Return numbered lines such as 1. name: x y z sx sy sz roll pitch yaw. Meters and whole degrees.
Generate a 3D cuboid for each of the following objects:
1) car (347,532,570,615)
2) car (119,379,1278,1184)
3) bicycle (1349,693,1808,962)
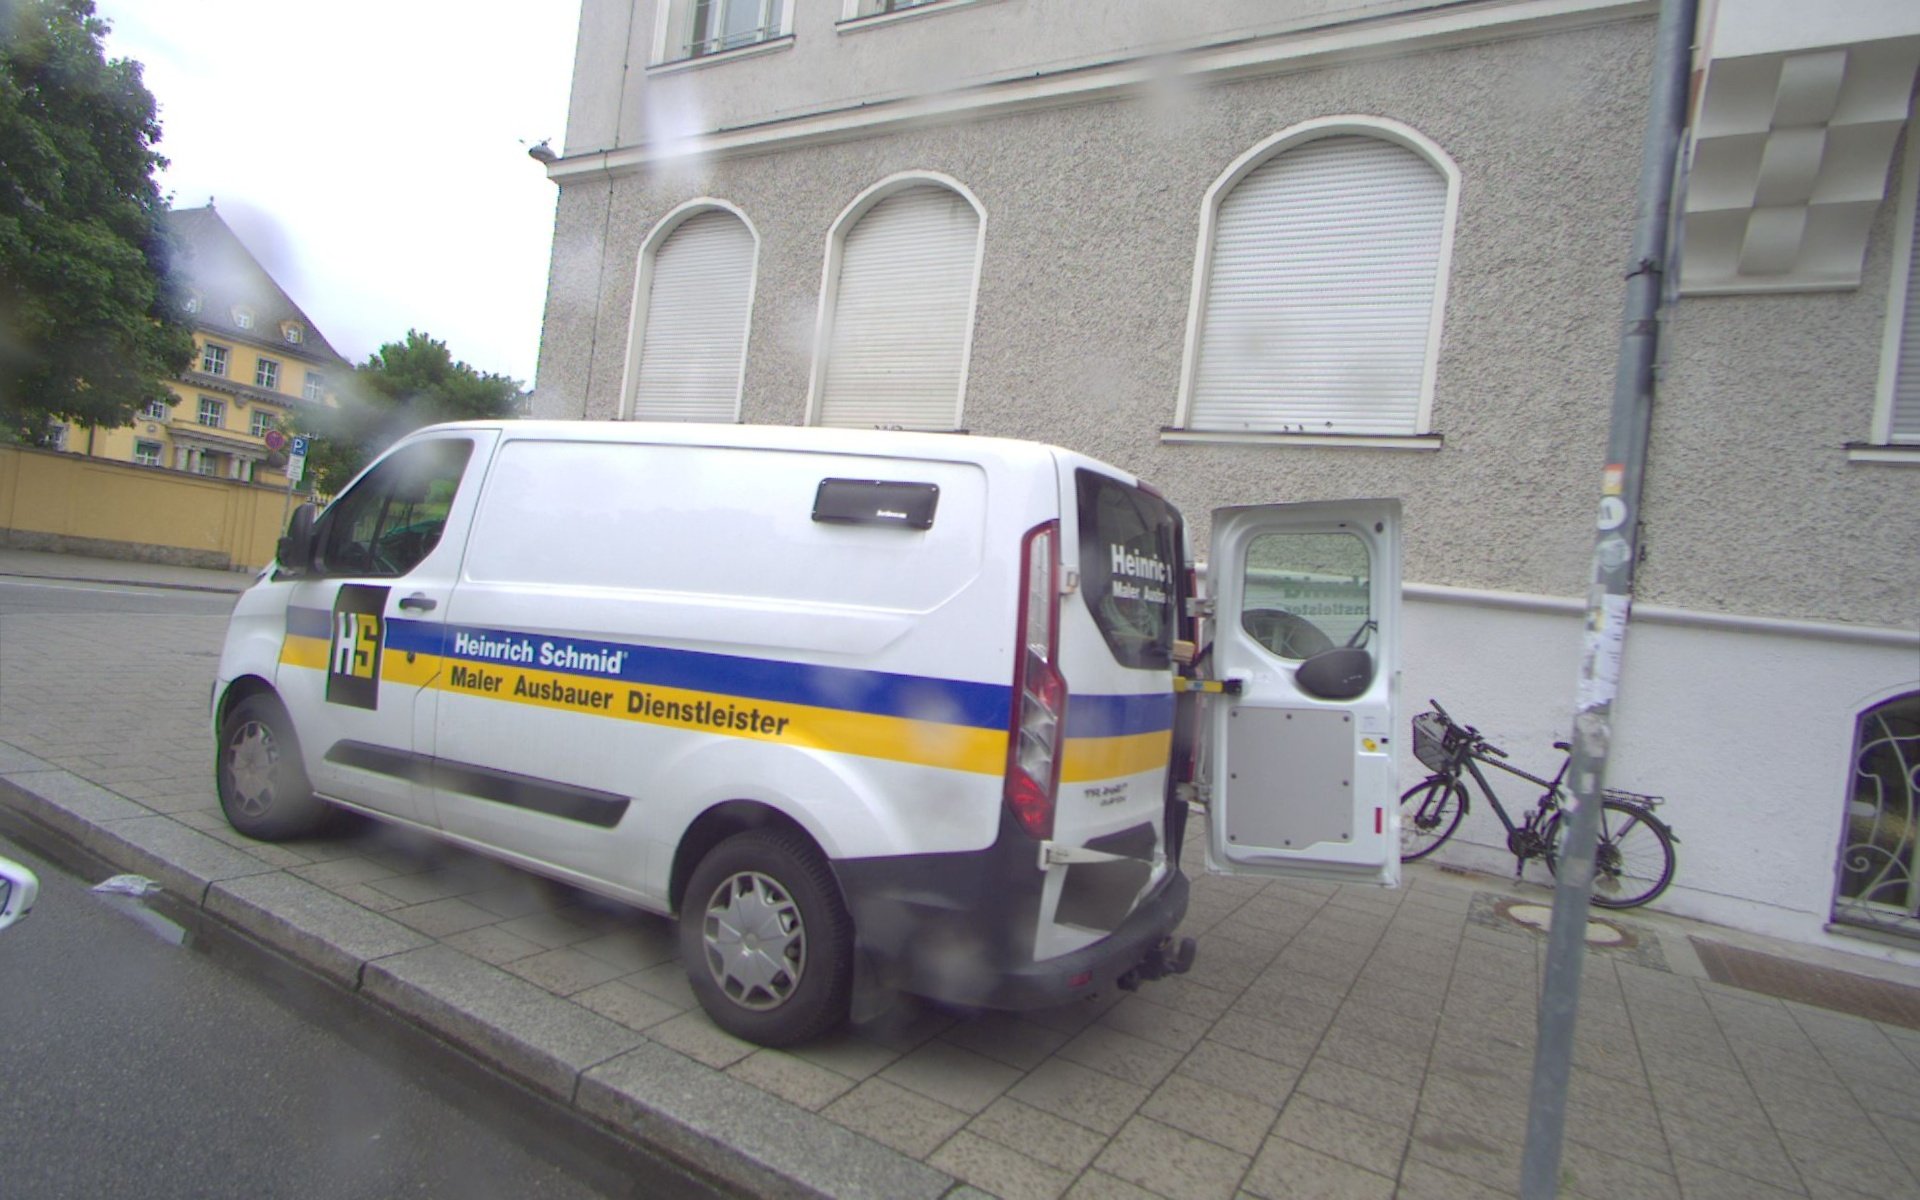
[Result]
1. car: -12.008 -0.584 24.441 1.794 1.419 4.567 7 0 28
2. car: -1.348 0.264 4.493 4.841 1.987 1.919 7 1 28
3. bicycle: 3.768 1.330 6.373 2.244 1.109 0.695 7 3 30
